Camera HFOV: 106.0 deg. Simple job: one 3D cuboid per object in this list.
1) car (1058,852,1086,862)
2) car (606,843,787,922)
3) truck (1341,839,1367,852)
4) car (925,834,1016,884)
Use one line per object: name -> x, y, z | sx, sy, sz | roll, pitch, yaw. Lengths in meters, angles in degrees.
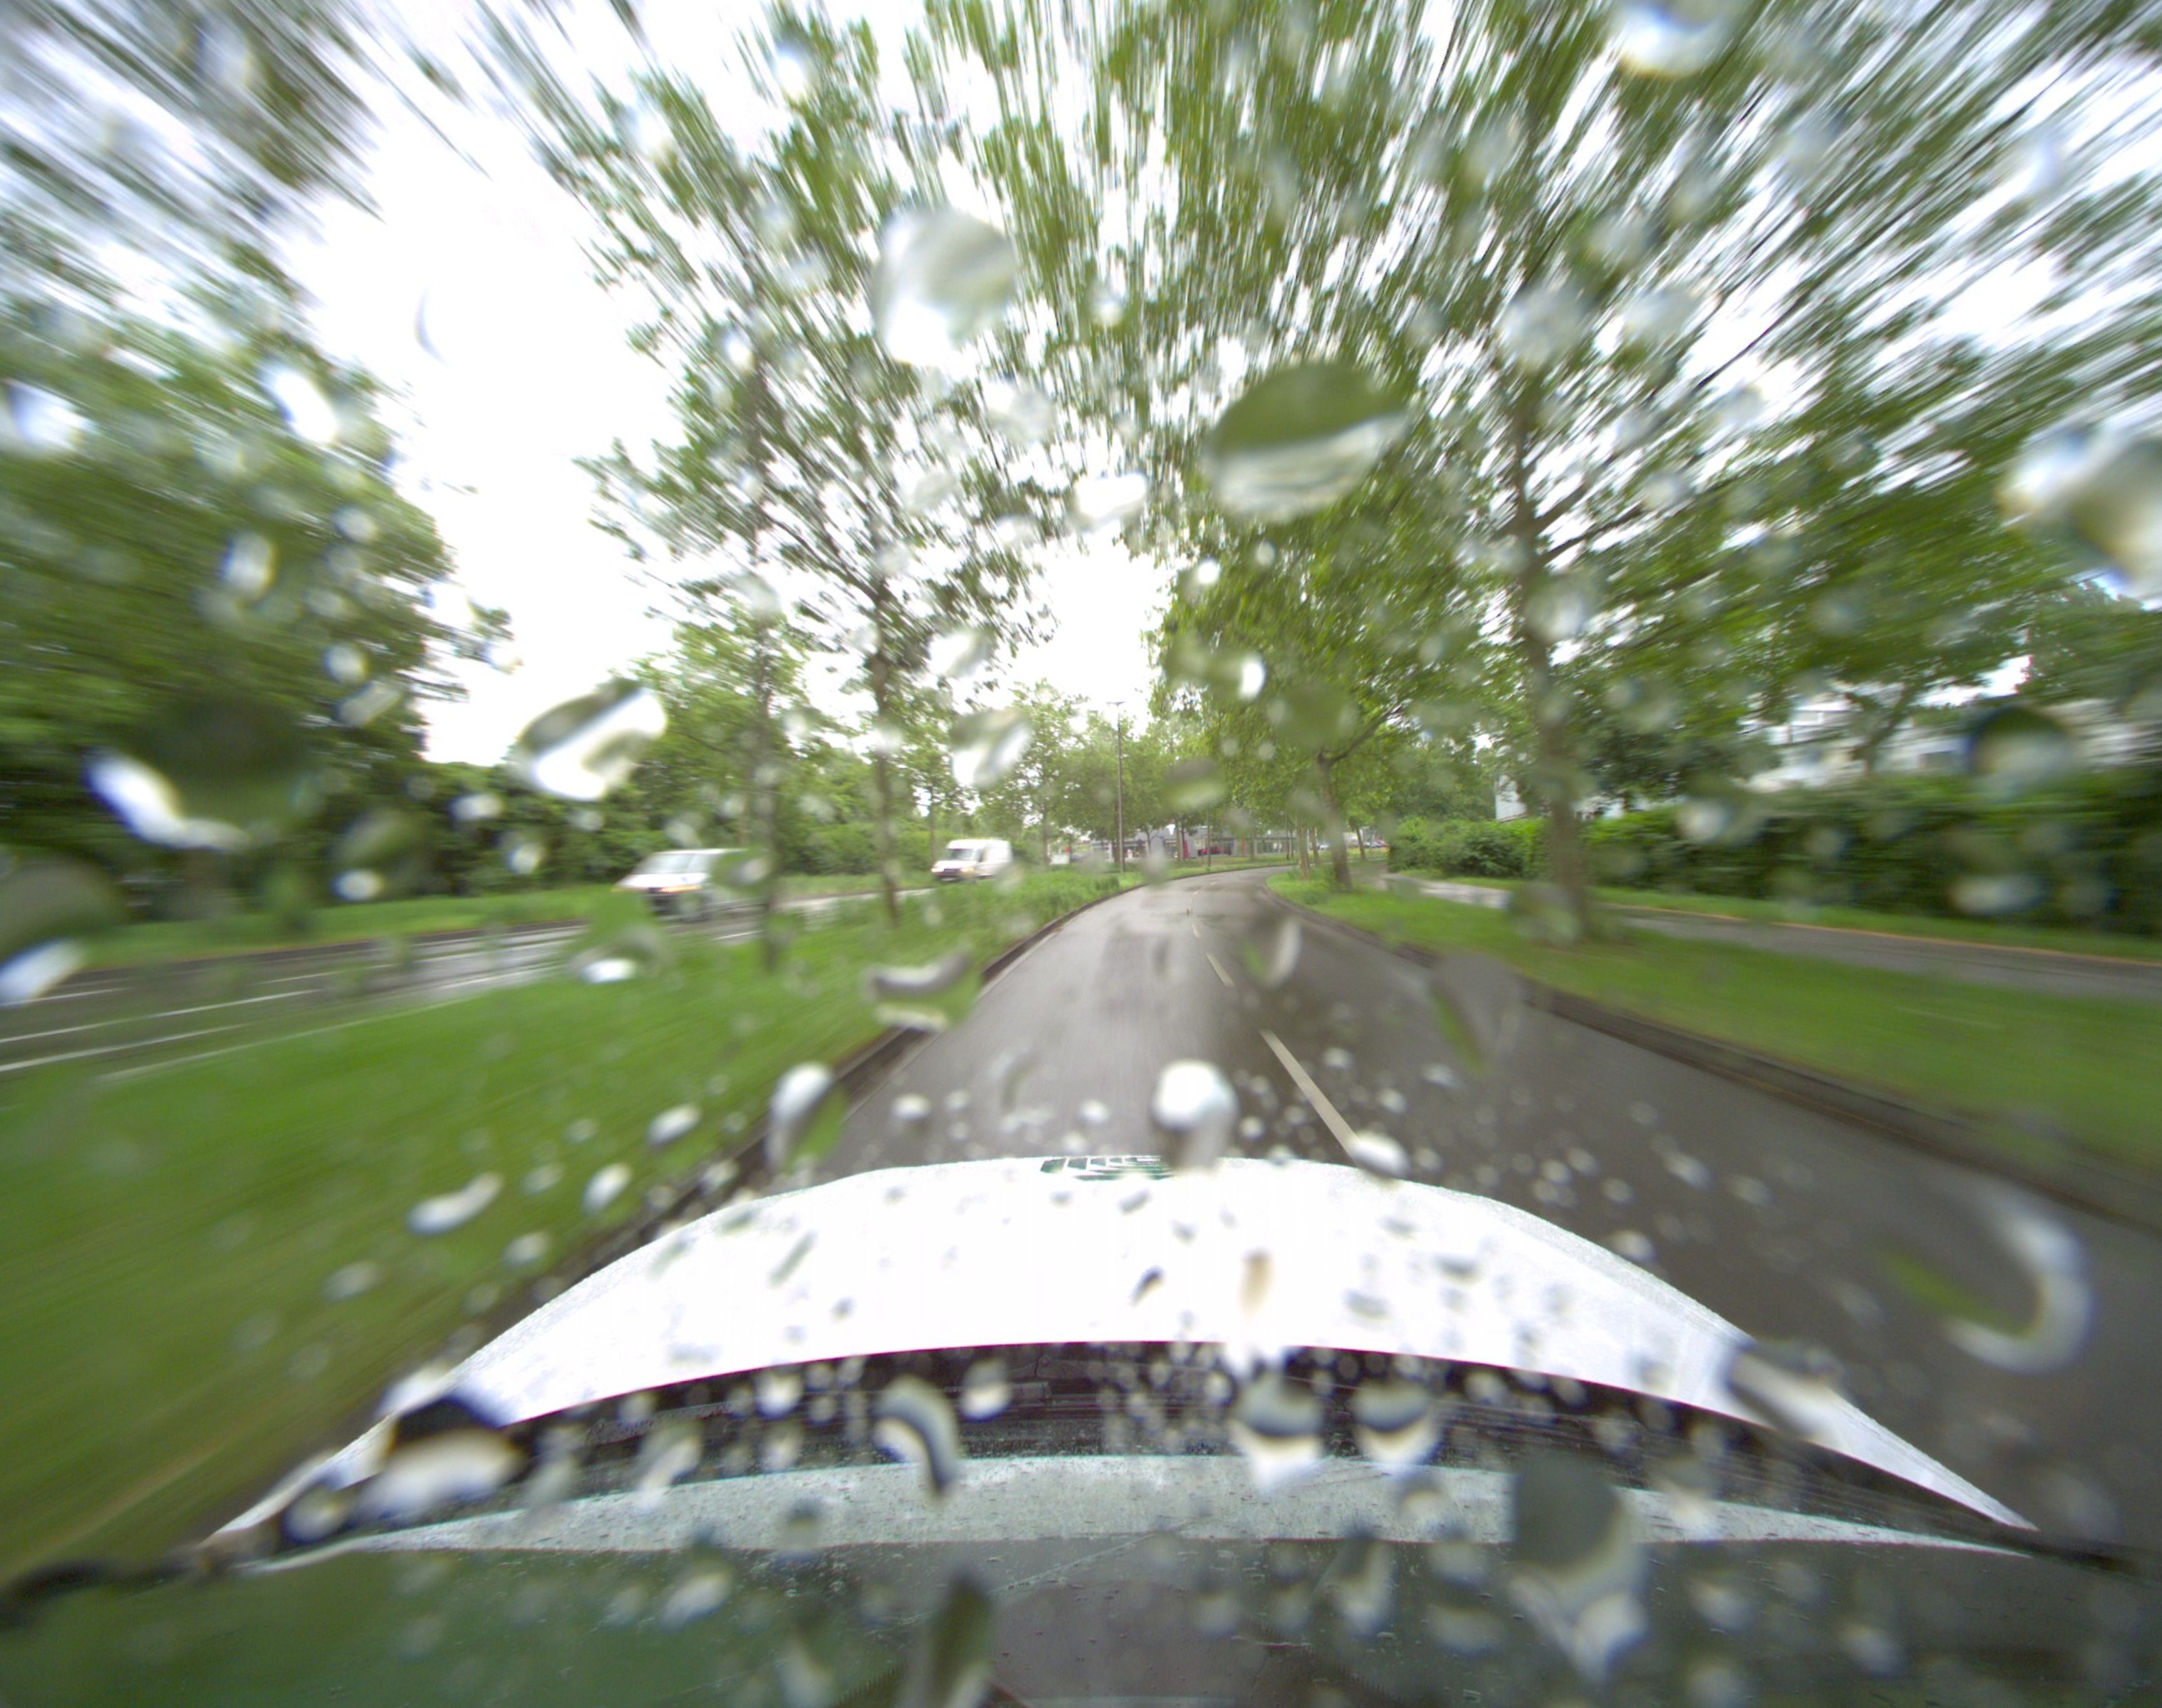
car -> -1.409, 0.476, 131.386 | 4.160, 1.494, 1.604 | -1, 0, 14
car -> -10.596, 0.707, 23.001 | 1.922, 1.940, 5.212 | -2, 0, 10
truck -> 57.039, -1.757, 170.221 | 6.225, 2.343, 2.229 | -3, 4, -39
car -> -5.713, 0.216, 43.384 | 2.260, 2.427, 6.388 | -2, 0, 17
